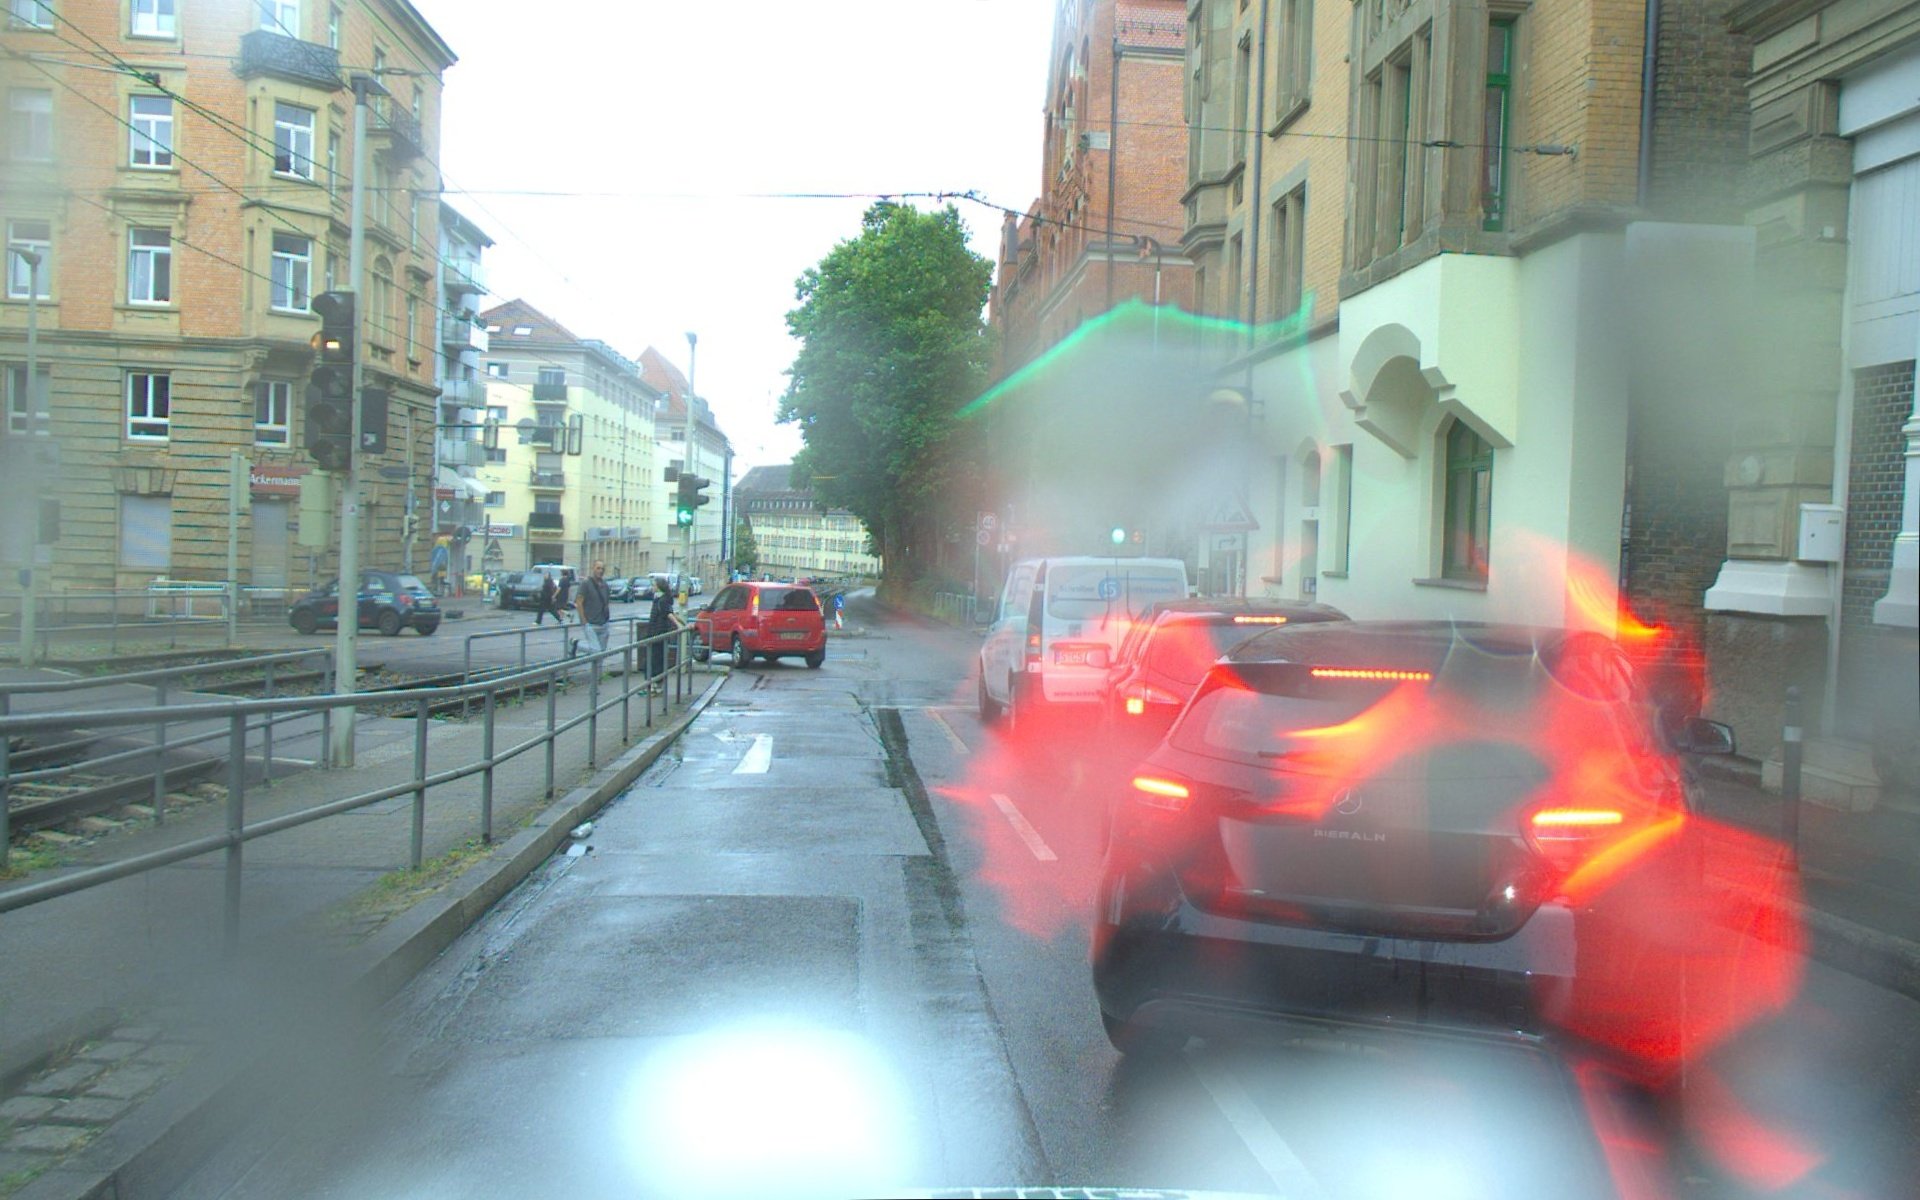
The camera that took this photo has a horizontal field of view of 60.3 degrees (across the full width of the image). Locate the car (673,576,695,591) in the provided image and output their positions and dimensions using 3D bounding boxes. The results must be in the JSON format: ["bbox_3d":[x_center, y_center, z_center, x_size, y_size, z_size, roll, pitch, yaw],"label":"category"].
[{"bbox_3d":[-22.640,-1.334,135.652,1.367,1.191,3.160,2,0,-3],"label":"car"}]

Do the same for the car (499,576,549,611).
[{"bbox_3d":[-18.399,-0.295,69.854,1.423,1.341,3.292,3,1,-4],"label":"car"}]

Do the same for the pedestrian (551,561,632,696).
[{"bbox_3d":[-4.908,0.371,22.005,0.728,1.754,0.736,2,0,43],"label":"pedestrian"}]

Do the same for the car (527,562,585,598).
[{"bbox_3d":[-18.586,-0.906,76.189,1.751,1.556,4.459,2,0,-3],"label":"car"}]

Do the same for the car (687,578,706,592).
[{"bbox_3d":[-23.584,-1.340,148.172,1.367,1.191,3.160,2,0,-3],"label":"car"}]

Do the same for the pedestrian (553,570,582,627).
[{"bbox_3d":[-11.859,-0.051,49.949,0.664,1.690,0.676,1,0,3],"label":"pedestrian"}]

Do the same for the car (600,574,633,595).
[{"bbox_3d":[-19.813,-0.881,95.530,1.408,1.126,3.160,2,0,-3],"label":"car"}]

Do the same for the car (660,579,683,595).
[{"bbox_3d":[-22.050,-0.969,126.374,1.367,1.191,3.160,2,0,-3],"label":"car"}]

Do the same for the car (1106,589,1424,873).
[{"bbox_3d":[1.873,0.702,11.195,1.677,1.494,4.284,2,0,6],"label":"car"}]

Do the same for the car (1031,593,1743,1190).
[{"bbox_3d":[1.909,0.718,6.254,1.857,1.414,3.997,2,0,25],"label":"car"}]

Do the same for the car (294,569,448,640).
[{"bbox_3d":[-13.791,0.088,38.773,3.084,1.515,1.426,2,1,11],"label":"car"}]

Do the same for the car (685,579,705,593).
[{"bbox_3d":[-22.998,-1.240,143.714,1.367,1.191,3.160,2,0,-3],"label":"car"}]

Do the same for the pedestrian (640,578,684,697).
[{"bbox_3d":[-3.959,0.494,21.973,0.522,1.557,0.435,2,0,-12],"label":"pedestrian"}]

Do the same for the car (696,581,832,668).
[{"bbox_3d":[-3.746,0.429,31.187,1.656,1.515,3.589,1,1,-22],"label":"car"}]

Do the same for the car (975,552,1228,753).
[{"bbox_3d":[1.375,0.475,17.862,1.896,1.863,4.275,2,1,-6],"label":"car"}]

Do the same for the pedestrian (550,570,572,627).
[{"bbox_3d":[-12.227,-0.051,50.680,0.508,1.695,0.476,2,0,-2],"label":"pedestrian"}]

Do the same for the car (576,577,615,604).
[{"bbox_3d":[-19.183,-0.504,87.062,1.470,1.379,3.160,2,0,-3],"label":"car"}]

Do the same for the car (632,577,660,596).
[{"bbox_3d":[-20.585,-0.892,108.591,1.367,1.191,3.160,2,0,-3],"label":"car"}]

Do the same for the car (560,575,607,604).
[{"bbox_3d":[-18.944,-0.509,83.309,1.647,1.379,3.701,2,0,-3],"label":"car"}]
